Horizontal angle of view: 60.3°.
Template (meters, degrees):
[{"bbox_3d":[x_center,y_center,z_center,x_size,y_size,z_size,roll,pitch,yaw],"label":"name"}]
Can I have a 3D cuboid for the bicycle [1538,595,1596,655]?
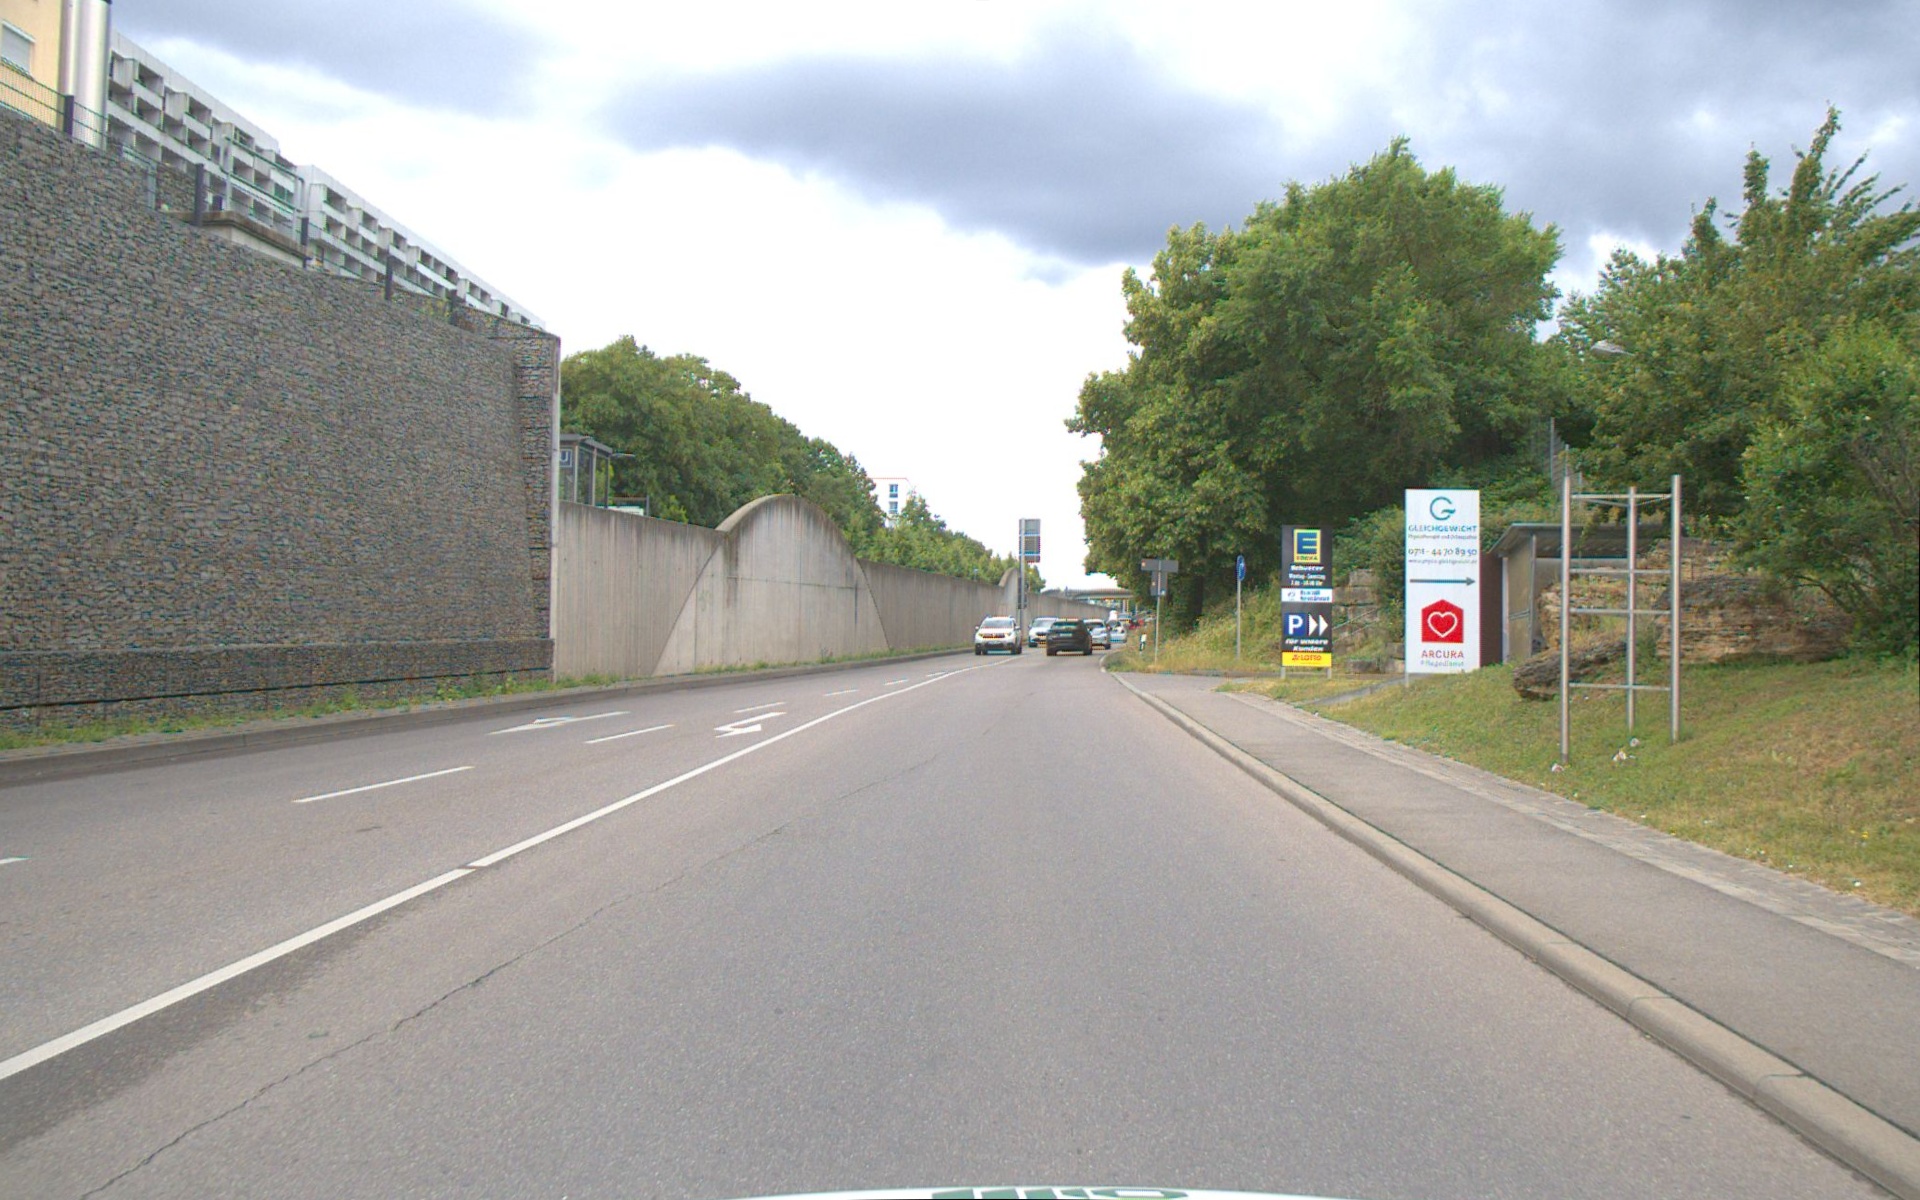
[{"bbox_3d":[9.293,0.369,25.343,0.480,0.891,1.482,0,0,6],"label":"bicycle"}]

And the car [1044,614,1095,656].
[{"bbox_3d":[4.540,1.471,68.367,1.717,1.550,4.039,2,-2,8],"label":"car"}]

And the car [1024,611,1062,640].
[{"bbox_3d":[4.743,1.443,94.261,1.850,1.660,4.429,0,-1,7],"label":"car"}]

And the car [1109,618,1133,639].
[{"bbox_3d":[12.843,2.280,131.779,1.717,1.560,4.256,3,-2,6],"label":"car"}]

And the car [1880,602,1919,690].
[{"bbox_3d":[18.281,0.826,28.229,4.150,1.475,1.761,1,-1,10],"label":"car"}]

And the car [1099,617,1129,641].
[{"bbox_3d":[10.250,1.935,109.936,1.827,1.516,4.259,2,-1,6],"label":"car"}]

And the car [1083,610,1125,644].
[{"bbox_3d":[7.381,1.378,84.339,1.717,1.550,4.039,2,-2,10],"label":"car"}]

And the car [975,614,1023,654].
[{"bbox_3d":[1.744,1.463,72.226,1.822,1.660,4.210,0,-1,5],"label":"car"}]
